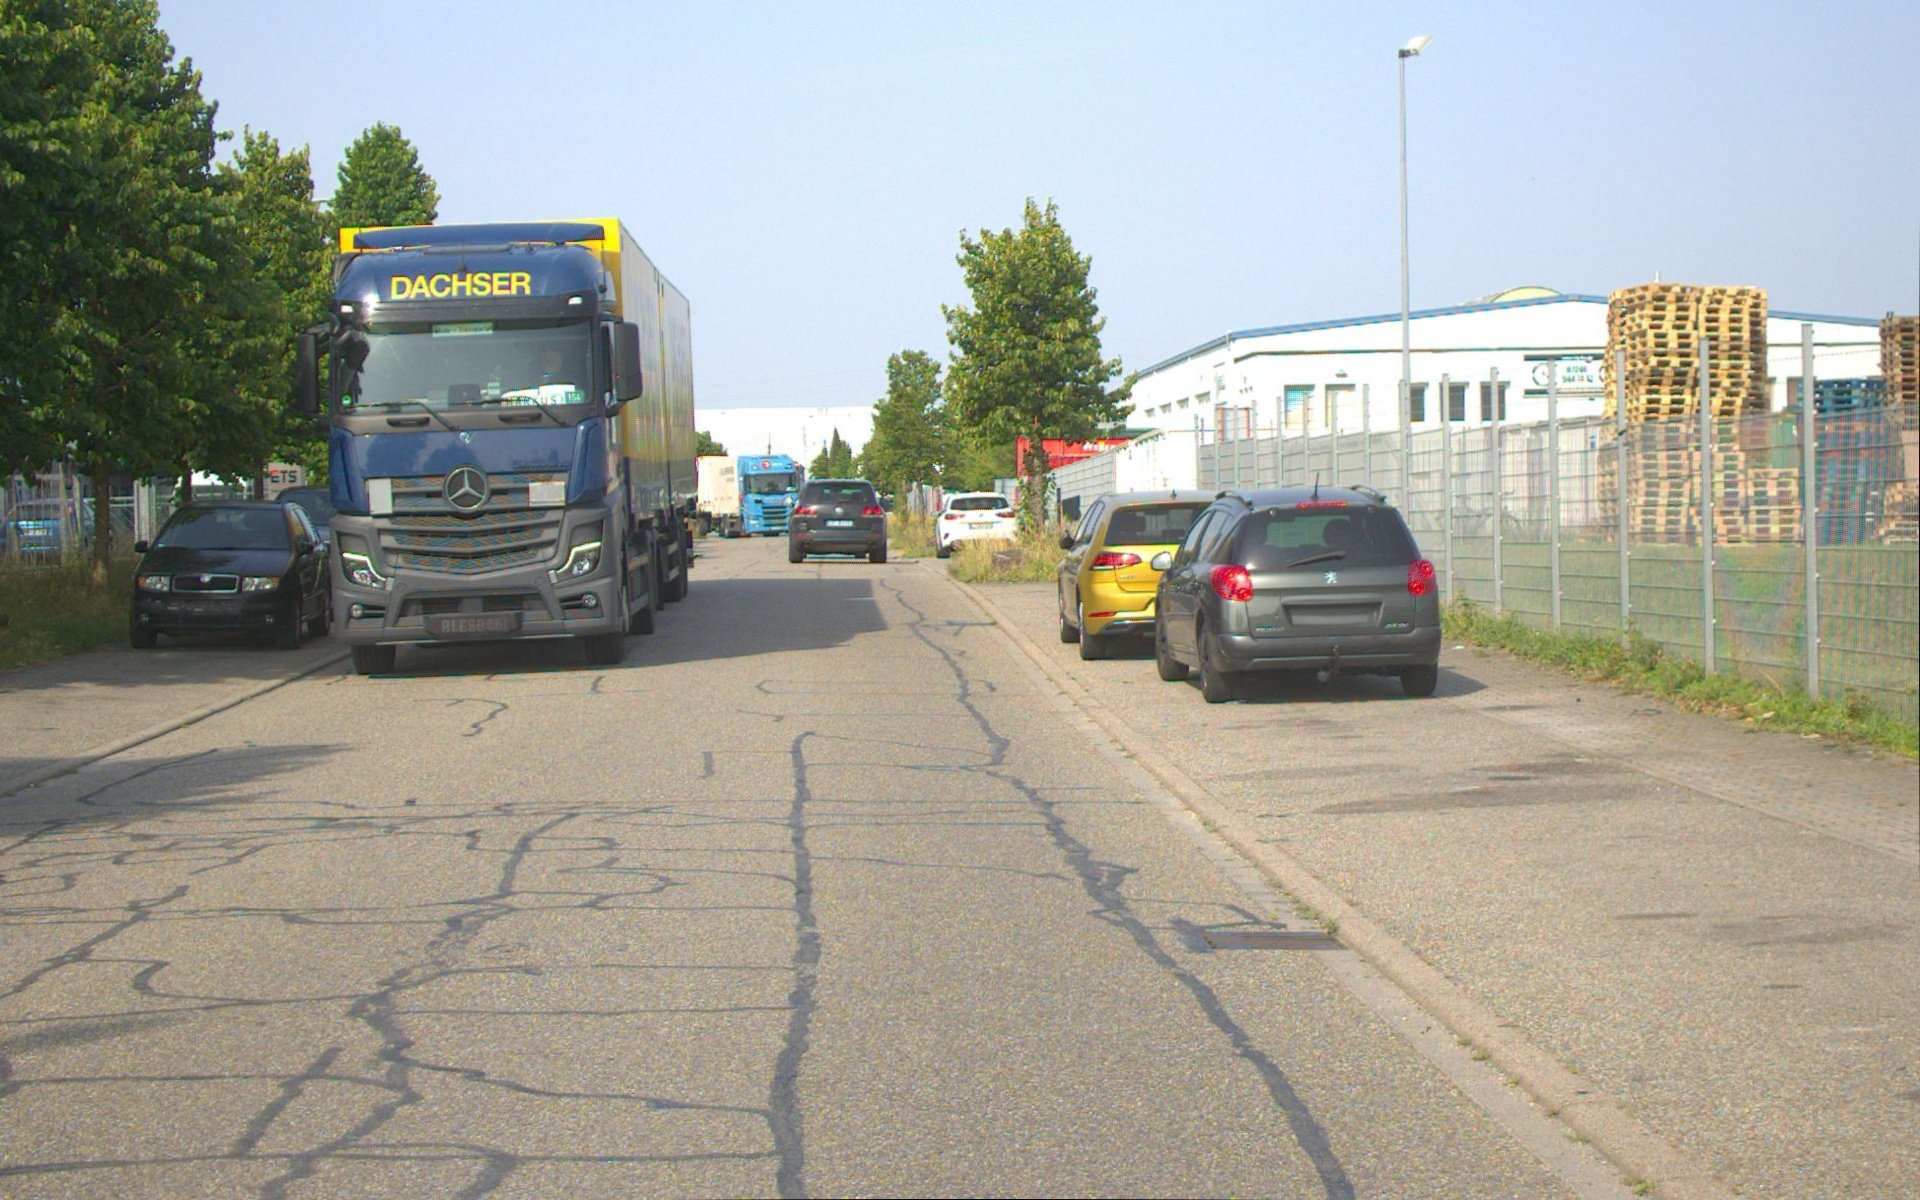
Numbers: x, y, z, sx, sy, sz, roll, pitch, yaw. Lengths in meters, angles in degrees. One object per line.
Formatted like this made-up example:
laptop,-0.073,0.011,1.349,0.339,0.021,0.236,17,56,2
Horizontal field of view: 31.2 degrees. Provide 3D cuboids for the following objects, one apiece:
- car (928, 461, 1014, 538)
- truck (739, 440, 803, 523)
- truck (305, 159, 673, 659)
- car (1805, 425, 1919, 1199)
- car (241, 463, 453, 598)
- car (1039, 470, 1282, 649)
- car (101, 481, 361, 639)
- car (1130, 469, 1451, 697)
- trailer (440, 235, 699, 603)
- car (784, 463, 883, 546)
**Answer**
car,0.228,-2.260,77.300,1.714,1.674,3.950,0,2,-3
truck,-8.730,-5.442,158.447,2.878,3.747,6.085,0,2,-4
truck,-4.414,-1.792,34.287,2.498,4.131,10.381,-2,2,-2
car,2.916,0.465,5.563,1.798,1.620,4.450,-2,2,-2
car,-7.180,-0.850,40.612,1.833,1.491,4.050,1,2,-1
car,1.755,-0.416,31.310,1.714,1.450,4.188,-2,2,-3
car,-7.332,-0.452,34.939,1.833,1.491,4.050,1,2,-1
car,2.399,-0.182,25.881,1.714,1.510,4.005,-2,2,-4
trailer,-4.807,-2.223,43.724,2.498,4.131,8.498,-2,2,-2
car,-2.490,-1.899,68.503,1.880,1.581,4.114,-1,1,-1
